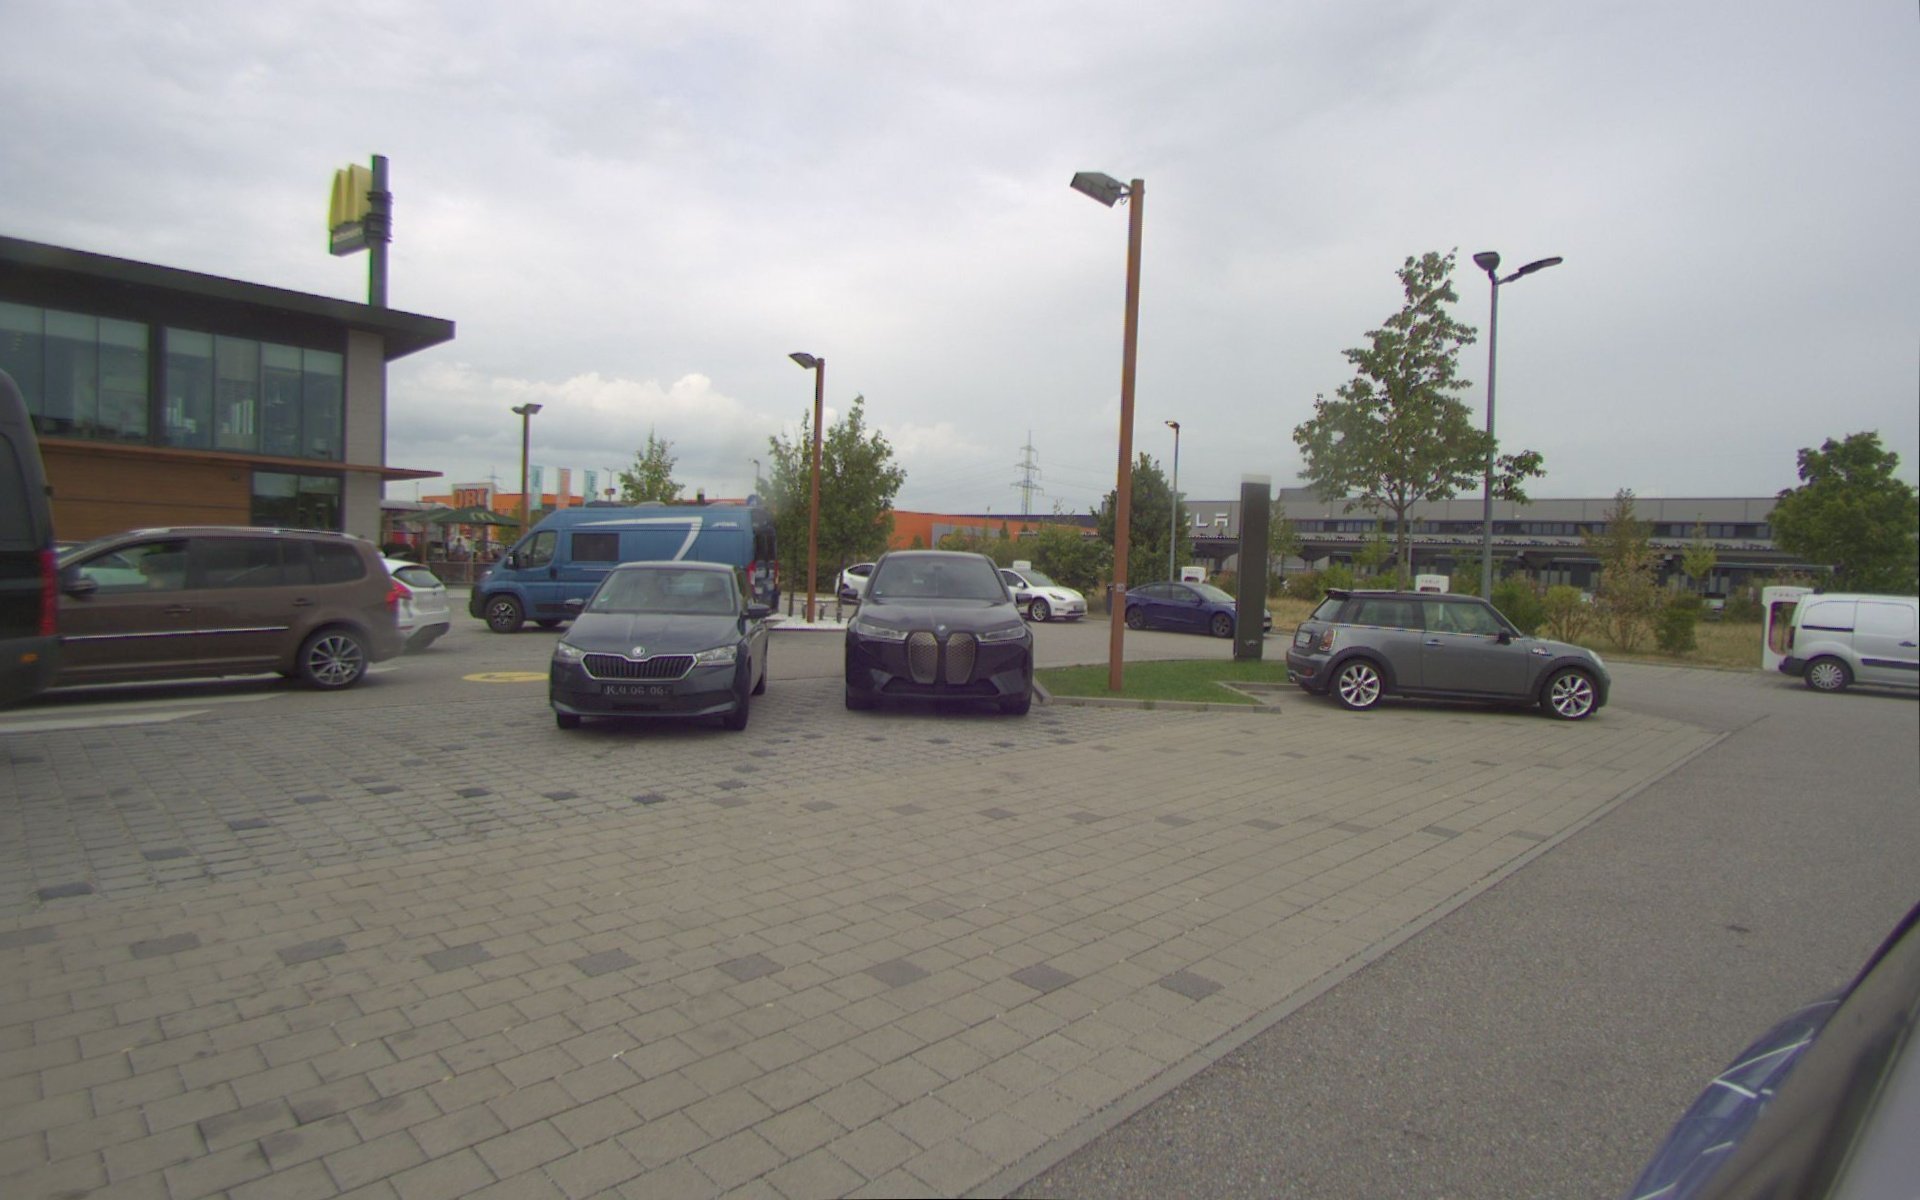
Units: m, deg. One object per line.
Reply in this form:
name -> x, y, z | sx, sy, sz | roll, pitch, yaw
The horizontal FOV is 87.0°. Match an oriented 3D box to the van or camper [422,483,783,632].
van or camper -> -6.973, -0.838, 20.191 | 6.454, 2.734, 2.171 | 1, 1, 3

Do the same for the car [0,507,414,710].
car -> -7.989, 0.011, 10.077 | 1.803, 1.710, 4.130 | 4, 3, 40

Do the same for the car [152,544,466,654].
car -> -9.616, -0.032, 15.185 | 3.503, 1.471, 1.844 | 1, 1, -3

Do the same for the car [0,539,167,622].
car -> -19.780, -0.501, 22.149 | 1.756, 1.504, 4.004 | 3, 4, -1

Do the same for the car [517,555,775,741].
car -> -2.801, 0.301, 9.883 | 1.795, 1.429, 4.007 | 1, 2, -8

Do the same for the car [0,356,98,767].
car -> -6.879, -0.183, 3.581 | 2.032, 2.585, 7.020 | 1, 1, -4

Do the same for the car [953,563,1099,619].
car -> 2.088, -0.335, 32.953 | 4.464, 1.572, 2.041 | 4, 3, 43

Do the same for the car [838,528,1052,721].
car -> -0.312, 0.164, 12.000 | 1.960, 1.749, 4.902 | 2, 1, -4

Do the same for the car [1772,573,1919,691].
car -> 17.090, 0.613, 17.663 | 4.325, 1.911, 1.915 | 5, 2, 44

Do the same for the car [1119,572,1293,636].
car -> 6.804, 0.046, 28.356 | 1.803, 1.476, 4.448 | -1, 4, -43

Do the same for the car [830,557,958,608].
car -> -2.547, -0.690, 37.883 | 2.039, 1.621, 4.934 | 0, 4, -44

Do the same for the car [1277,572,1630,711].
car -> 5.902, 0.450, 12.444 | 3.464, 1.393, 1.608 | 3, 1, 4
